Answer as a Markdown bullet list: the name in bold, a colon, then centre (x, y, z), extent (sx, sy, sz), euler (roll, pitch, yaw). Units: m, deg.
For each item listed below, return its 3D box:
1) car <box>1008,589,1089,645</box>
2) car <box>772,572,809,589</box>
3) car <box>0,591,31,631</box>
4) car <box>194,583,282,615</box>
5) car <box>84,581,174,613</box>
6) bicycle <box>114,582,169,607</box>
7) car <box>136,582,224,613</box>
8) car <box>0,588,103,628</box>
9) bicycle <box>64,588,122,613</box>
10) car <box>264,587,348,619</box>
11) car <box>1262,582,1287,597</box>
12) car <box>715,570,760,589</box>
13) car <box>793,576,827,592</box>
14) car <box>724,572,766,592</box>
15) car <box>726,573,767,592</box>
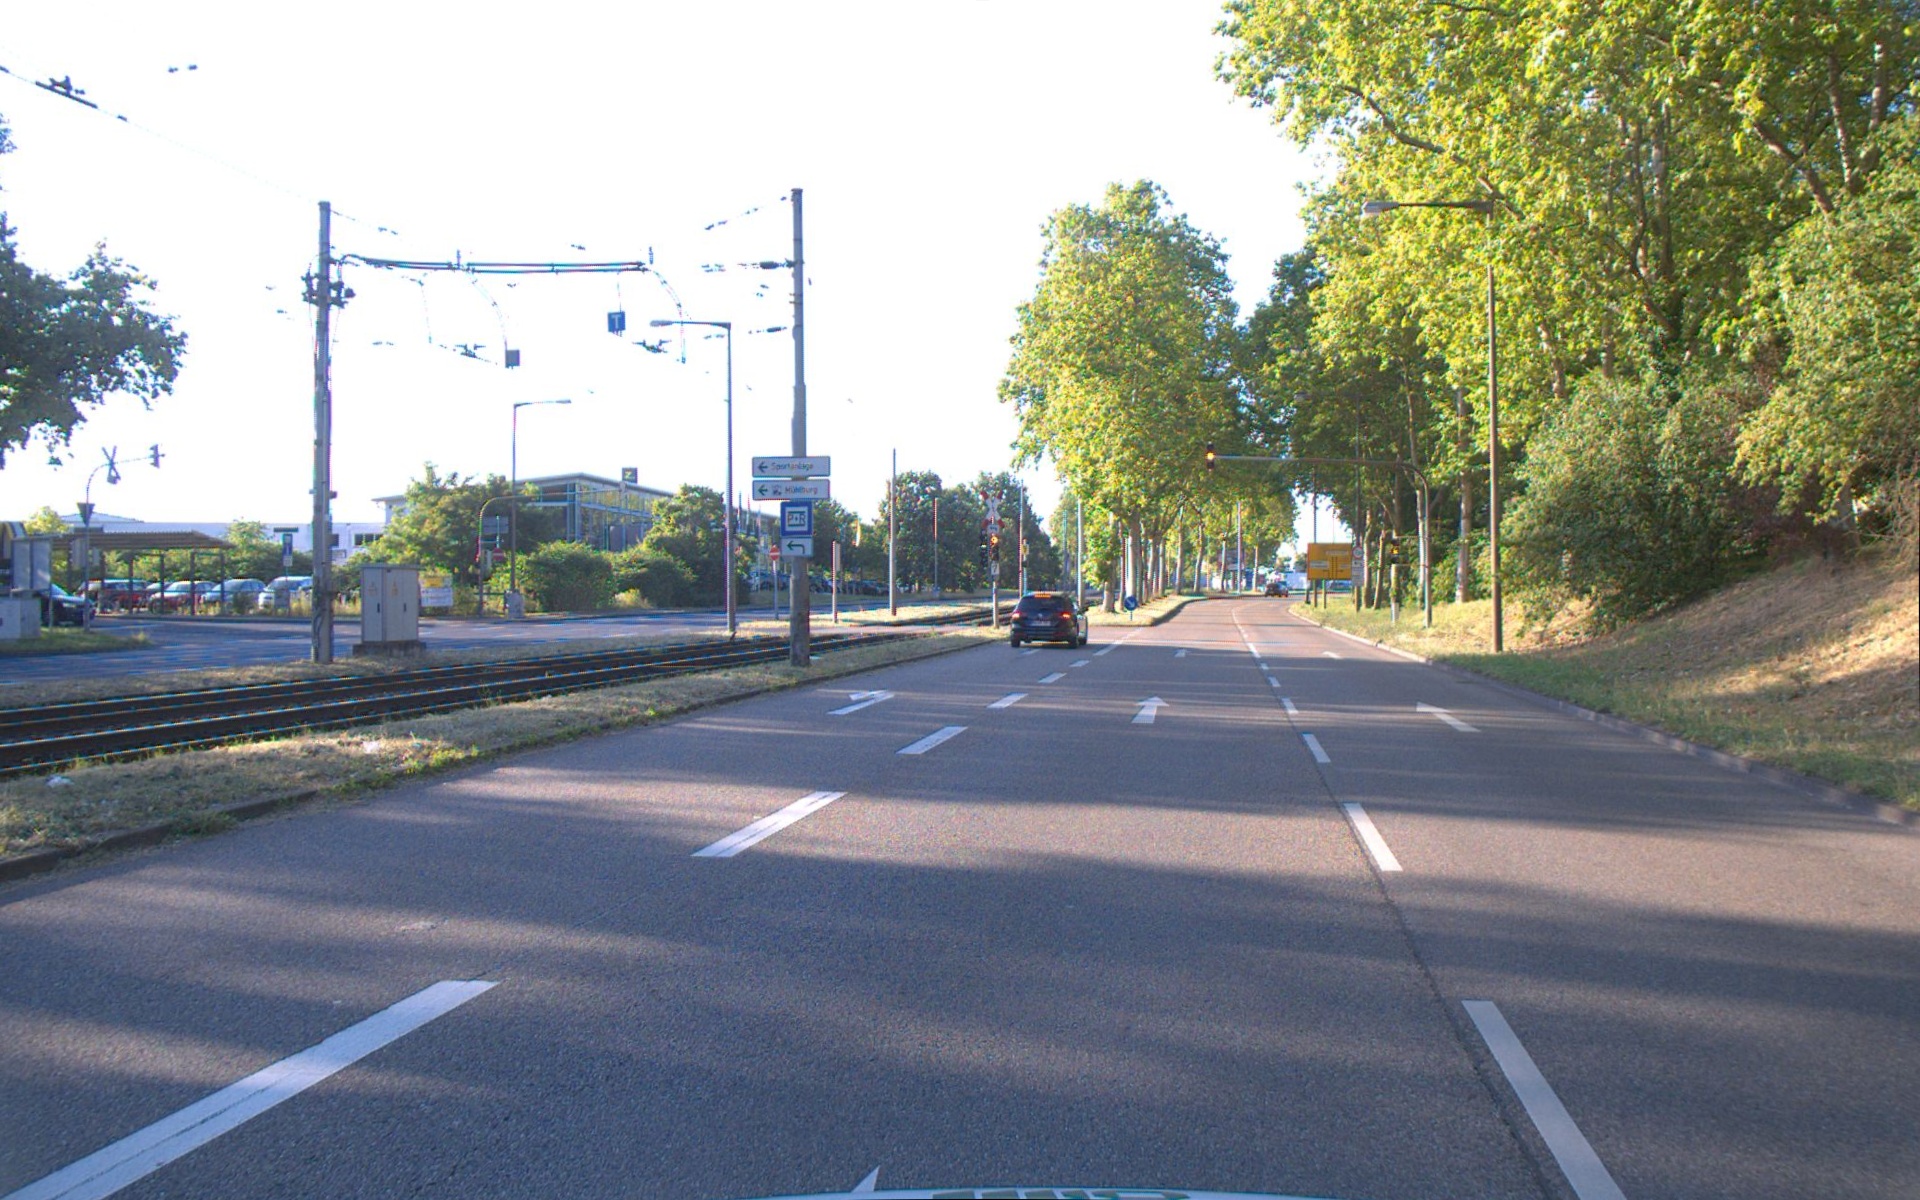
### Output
- **car**: centre (2.419, 0.429, 44.398), extent (1.754, 1.427, 3.692), euler (0, 0, 10)
- **car**: centre (-15.550, -1.771, 151.824), extent (3.076, 1.516, 1.456), euler (1, 0, 6)
- **car**: centre (-35.575, 0.371, 59.153), extent (3.969, 1.411, 1.785), euler (1, 0, 15)
- **car**: centre (-34.296, -0.067, 78.664), extent (1.802, 1.467, 4.003), euler (1, 0, 12)
- **car**: centre (-40.366, -0.135, 80.402), extent (1.802, 1.467, 4.003), euler (1, 0, 12)
- **bicycle**: centre (-35.894, -0.245, 72.565), extent (0.653, 1.083, 2.190), euler (1, 0, 26)
- **car**: centre (-37.446, -0.124, 79.504), extent (1.802, 1.467, 4.003), euler (1, 0, 12)
- **car**: centre (-34.618, 0.290, 62.326), extent (3.969, 1.411, 1.785), euler (1, 0, 15)
- **bicycle**: centre (-38.548, 0.022, 73.554), extent (0.655, 1.083, 2.181), euler (1, 0, 39)
- **car**: centre (-31.045, 0.122, 78.634), extent (1.802, 1.467, 4.003), euler (1, 0, 12)
- **car**: centre (32.945, -1.090, 173.354), extent (1.756, 1.427, 3.687), euler (0, 0, 24)
- **car**: centre (-16.753, -1.523, 124.423), extent (3.076, 1.416, 1.456), euler (1, 0, 6)
- **car**: centre (-14.579, -1.592, 160.766), extent (3.076, 1.516, 1.456), euler (1, 0, 6)
- **car**: centre (-17.527, -1.473, 134.991), extent (3.076, 1.516, 1.456), euler (1, 0, 6)
- **car**: centre (-17.922, -1.466, 138.932), extent (3.076, 1.516, 1.456), euler (1, 0, 6)
